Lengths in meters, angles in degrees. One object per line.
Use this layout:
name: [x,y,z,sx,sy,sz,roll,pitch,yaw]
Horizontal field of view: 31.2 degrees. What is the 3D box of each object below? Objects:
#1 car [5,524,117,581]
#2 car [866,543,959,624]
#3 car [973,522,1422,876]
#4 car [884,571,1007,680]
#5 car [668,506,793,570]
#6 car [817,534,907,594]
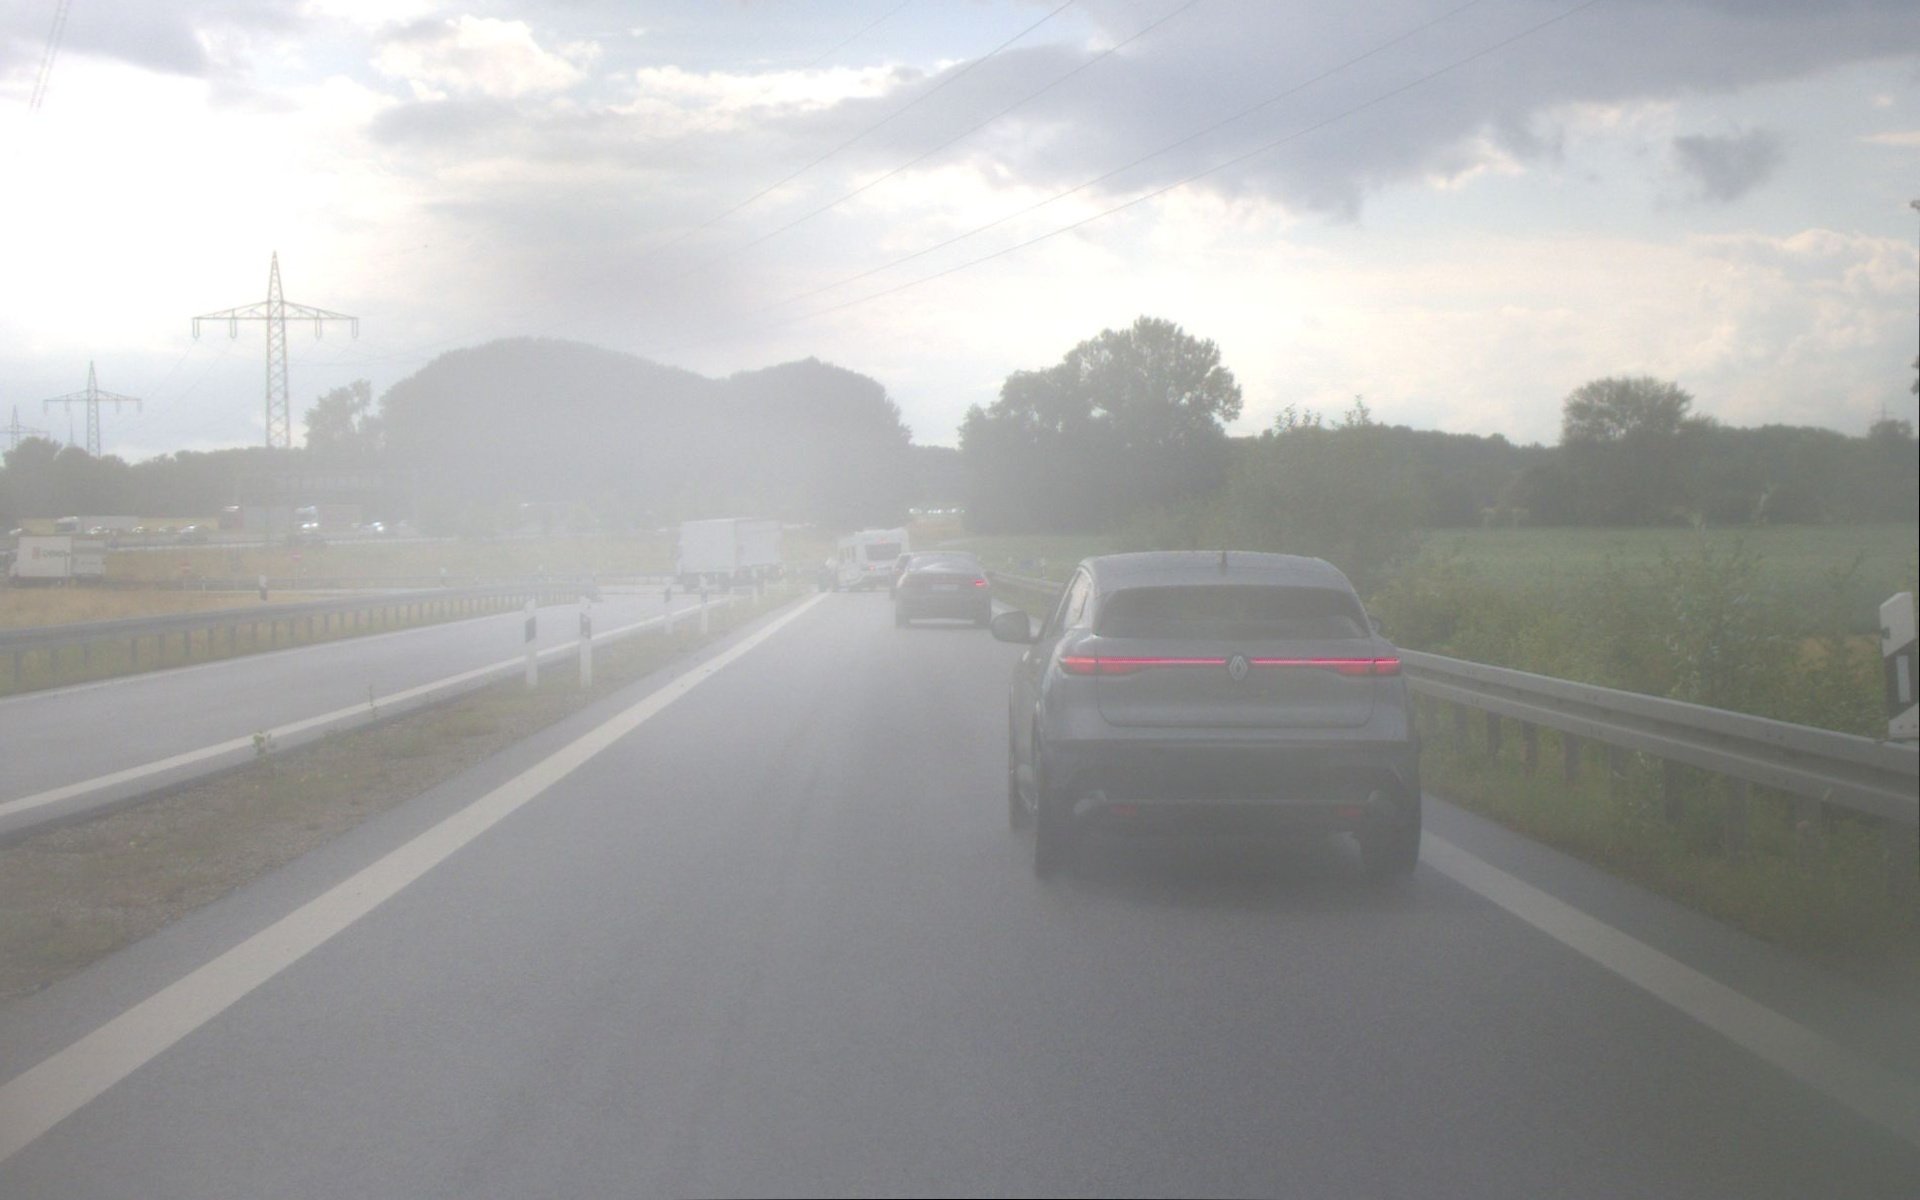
car: [-58.395,-3.068,223.130,3.384,3.598,9.041,-2,1,-40]
car: [-1.535,-0.550,109.101,2.351,2.299,5.130,-1,3,-7]
car: [1.113,0.400,17.512,1.993,1.561,4.149,1,1,1]
car: [-0.348,0.469,69.560,2.121,2.011,5.535,-1,1,-4]
car: [-11.522,-3.137,172.036,3.136,2.941,7.209,-2,4,-32]
car: [-4.212,-1.569,147.275,2.350,2.299,5.130,-2,3,-20]
